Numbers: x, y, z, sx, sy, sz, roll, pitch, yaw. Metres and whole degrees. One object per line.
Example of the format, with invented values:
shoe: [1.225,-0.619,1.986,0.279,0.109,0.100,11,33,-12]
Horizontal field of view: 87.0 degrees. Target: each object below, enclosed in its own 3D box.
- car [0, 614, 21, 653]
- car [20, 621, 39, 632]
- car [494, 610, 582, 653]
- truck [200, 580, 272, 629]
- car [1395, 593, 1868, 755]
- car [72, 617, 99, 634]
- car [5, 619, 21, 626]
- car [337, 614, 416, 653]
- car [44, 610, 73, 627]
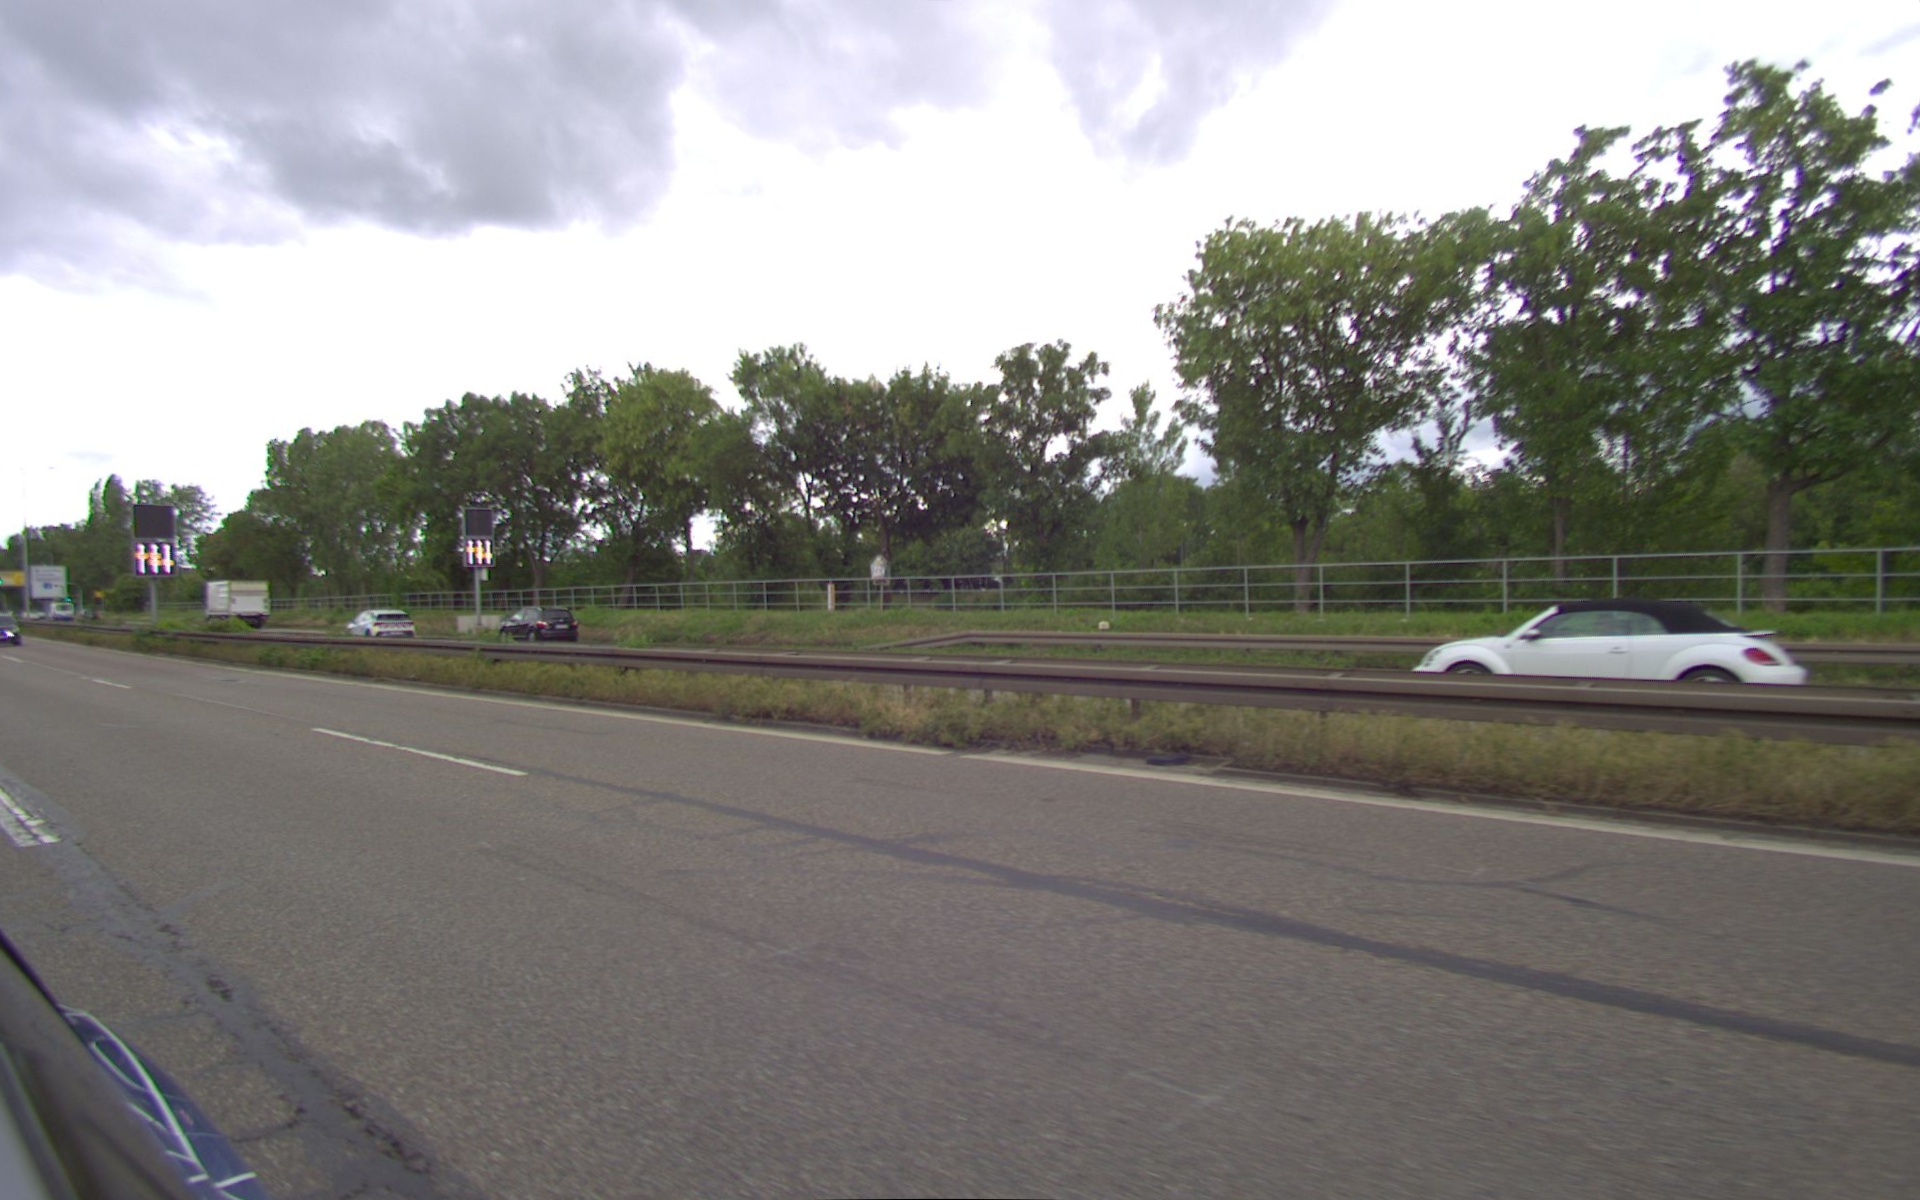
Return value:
car: [-45.992,1.611,47.831,4.144,1.737,1.859,-2,1,41]
car: [-131.984,3.757,143.496,3.988,1.409,1.641,-2,-1,42]
car: [-16.975,1.247,40.647,4.041,1.617,1.708,-1,-2,42]
truck: [-56.766,0.351,79.260,9.589,3.606,2.857,-1,0,44]
car: [8.249,0.809,12.801,4.716,1.687,1.847,-1,-1,41]
car: [-94.779,2.772,109.694,4.147,1.737,1.858,-2,1,44]
car: [-173.274,4.128,185.179,4.785,1.309,1.643,-2,1,41]
car: [-25.452,1.447,44.075,4.537,1.617,1.679,-1,-2,42]
car: [-111.597,2.301,125.267,5.475,1.962,2.201,-1,0,44]
